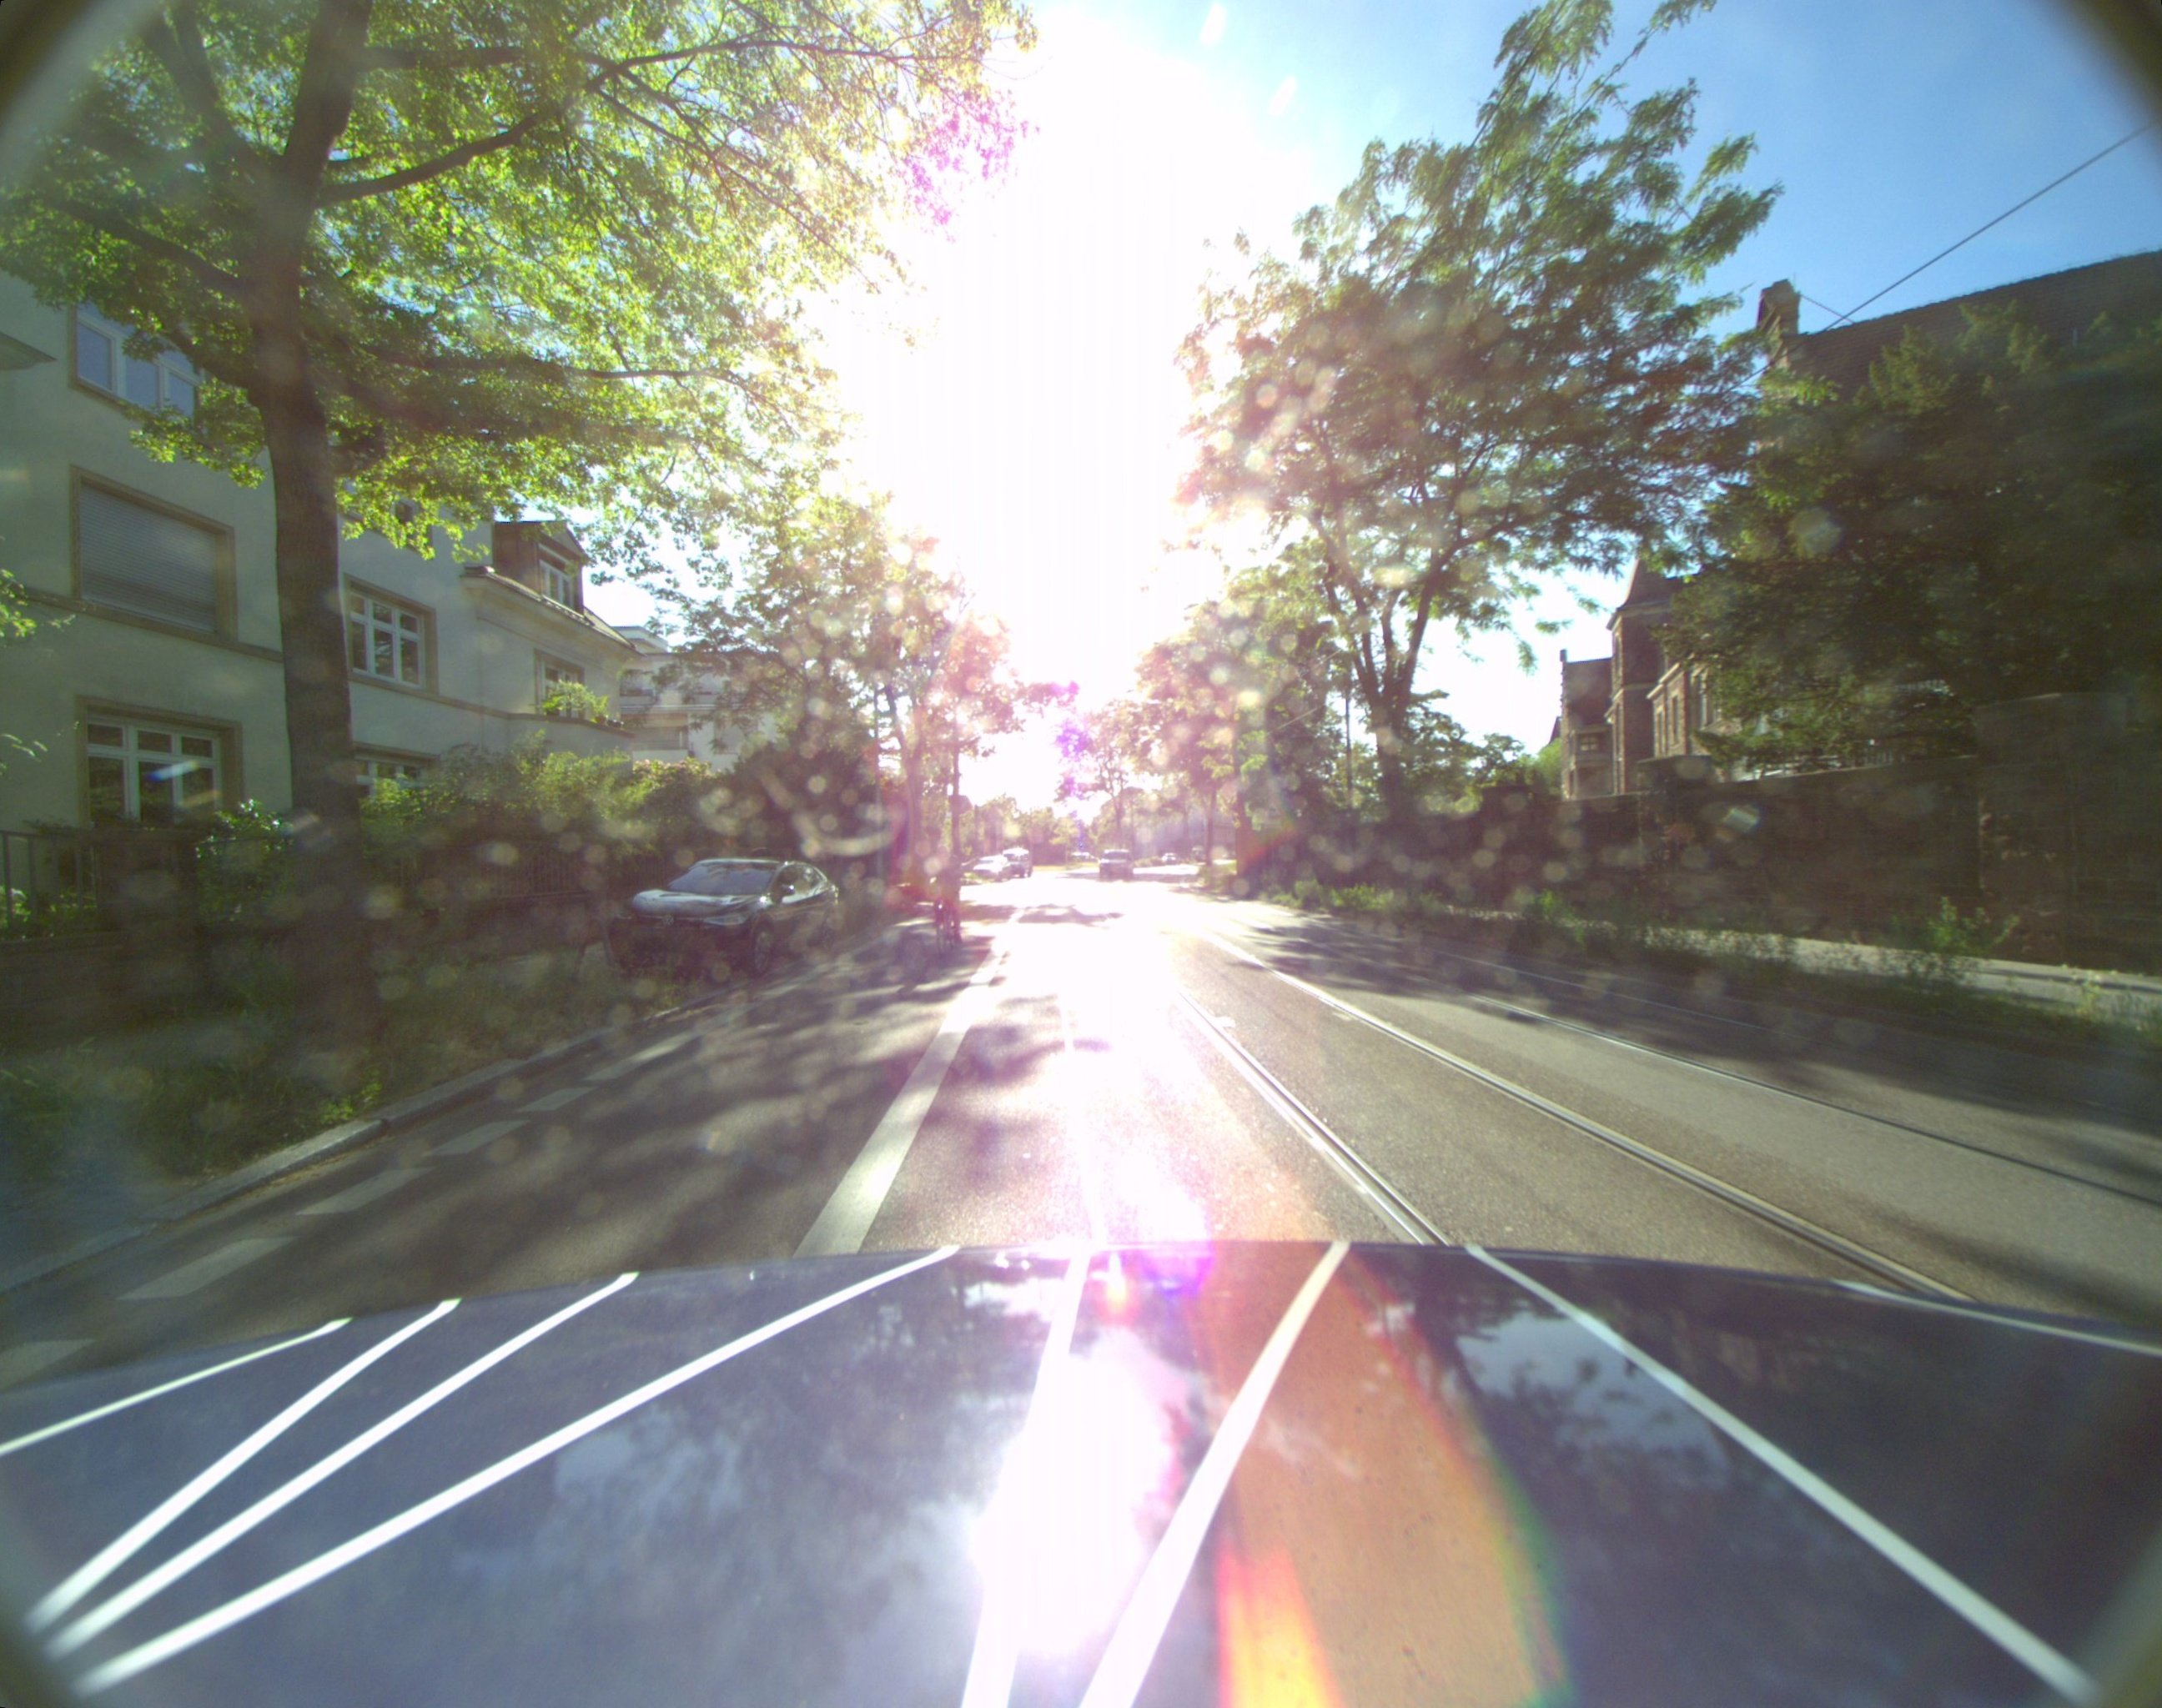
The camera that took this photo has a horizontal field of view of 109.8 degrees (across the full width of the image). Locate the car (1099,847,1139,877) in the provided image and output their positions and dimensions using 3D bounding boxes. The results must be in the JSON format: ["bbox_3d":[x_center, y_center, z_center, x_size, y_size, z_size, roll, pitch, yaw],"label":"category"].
[{"bbox_3d":[2.563,0.475,50.220,1.876,1.805,4.971,-1,0,11],"label":"car"}]

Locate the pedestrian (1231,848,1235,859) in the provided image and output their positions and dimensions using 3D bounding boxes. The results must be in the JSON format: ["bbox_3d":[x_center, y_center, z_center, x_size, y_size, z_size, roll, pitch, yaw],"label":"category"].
[{"bbox_3d":[26.029,-0.139,130.253,0.524,1.823,0.587,-1,1,15],"label":"pedestrian"}]

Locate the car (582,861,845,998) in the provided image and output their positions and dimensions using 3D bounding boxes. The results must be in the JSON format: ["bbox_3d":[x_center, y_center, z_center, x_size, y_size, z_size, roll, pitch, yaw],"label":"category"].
[{"bbox_3d":[-5.196,0.949,11.512,1.919,1.590,4.258,2,0,-1],"label":"car"}]

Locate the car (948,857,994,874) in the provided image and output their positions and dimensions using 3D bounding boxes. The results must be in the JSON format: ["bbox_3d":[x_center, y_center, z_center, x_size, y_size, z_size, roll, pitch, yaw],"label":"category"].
[{"bbox_3d":[-10.040,1.050,69.543,3.998,1.433,1.813,-2,0,-3],"label":"car"}]

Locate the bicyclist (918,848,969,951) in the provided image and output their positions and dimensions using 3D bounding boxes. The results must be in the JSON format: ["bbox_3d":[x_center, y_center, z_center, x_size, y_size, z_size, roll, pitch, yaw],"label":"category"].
[{"bbox_3d":[-2.256,0.726,12.506,0.644,1.632,0.665,-2,1,1],"label":"bicyclist"}]

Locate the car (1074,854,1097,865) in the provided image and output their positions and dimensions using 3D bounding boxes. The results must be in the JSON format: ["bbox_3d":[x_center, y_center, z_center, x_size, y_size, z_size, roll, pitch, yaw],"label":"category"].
[{"bbox_3d":[0.754,0.925,128.794,3.908,1.683,1.905,-1,0,-1],"label":"car"}]

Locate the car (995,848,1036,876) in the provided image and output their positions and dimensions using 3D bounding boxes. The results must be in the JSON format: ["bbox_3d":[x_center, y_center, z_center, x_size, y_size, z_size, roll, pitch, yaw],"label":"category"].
[{"bbox_3d":[-4.400,0.509,51.694,1.900,1.775,4.670,-1,0,6],"label":"car"}]

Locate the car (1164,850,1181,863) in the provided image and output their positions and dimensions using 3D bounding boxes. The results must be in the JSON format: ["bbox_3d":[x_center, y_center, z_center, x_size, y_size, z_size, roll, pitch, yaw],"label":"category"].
[{"bbox_3d":[11.917,0.321,98.726,1.997,1.539,4.002,-2,0,8],"label":"car"}]

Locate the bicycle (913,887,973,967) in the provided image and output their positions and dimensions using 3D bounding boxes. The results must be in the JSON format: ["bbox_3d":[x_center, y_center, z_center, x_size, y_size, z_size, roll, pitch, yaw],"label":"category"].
[{"bbox_3d":[-2.229,1.152,12.501,0.588,1.105,1.855,-2,0,1],"label":"bicycle"}]

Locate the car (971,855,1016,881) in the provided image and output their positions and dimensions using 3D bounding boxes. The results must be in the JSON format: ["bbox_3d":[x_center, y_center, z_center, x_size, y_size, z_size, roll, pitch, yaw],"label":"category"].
[{"bbox_3d":[-5.162,0.797,45.338,1.901,1.402,4.260,-1,0,4],"label":"car"}]
